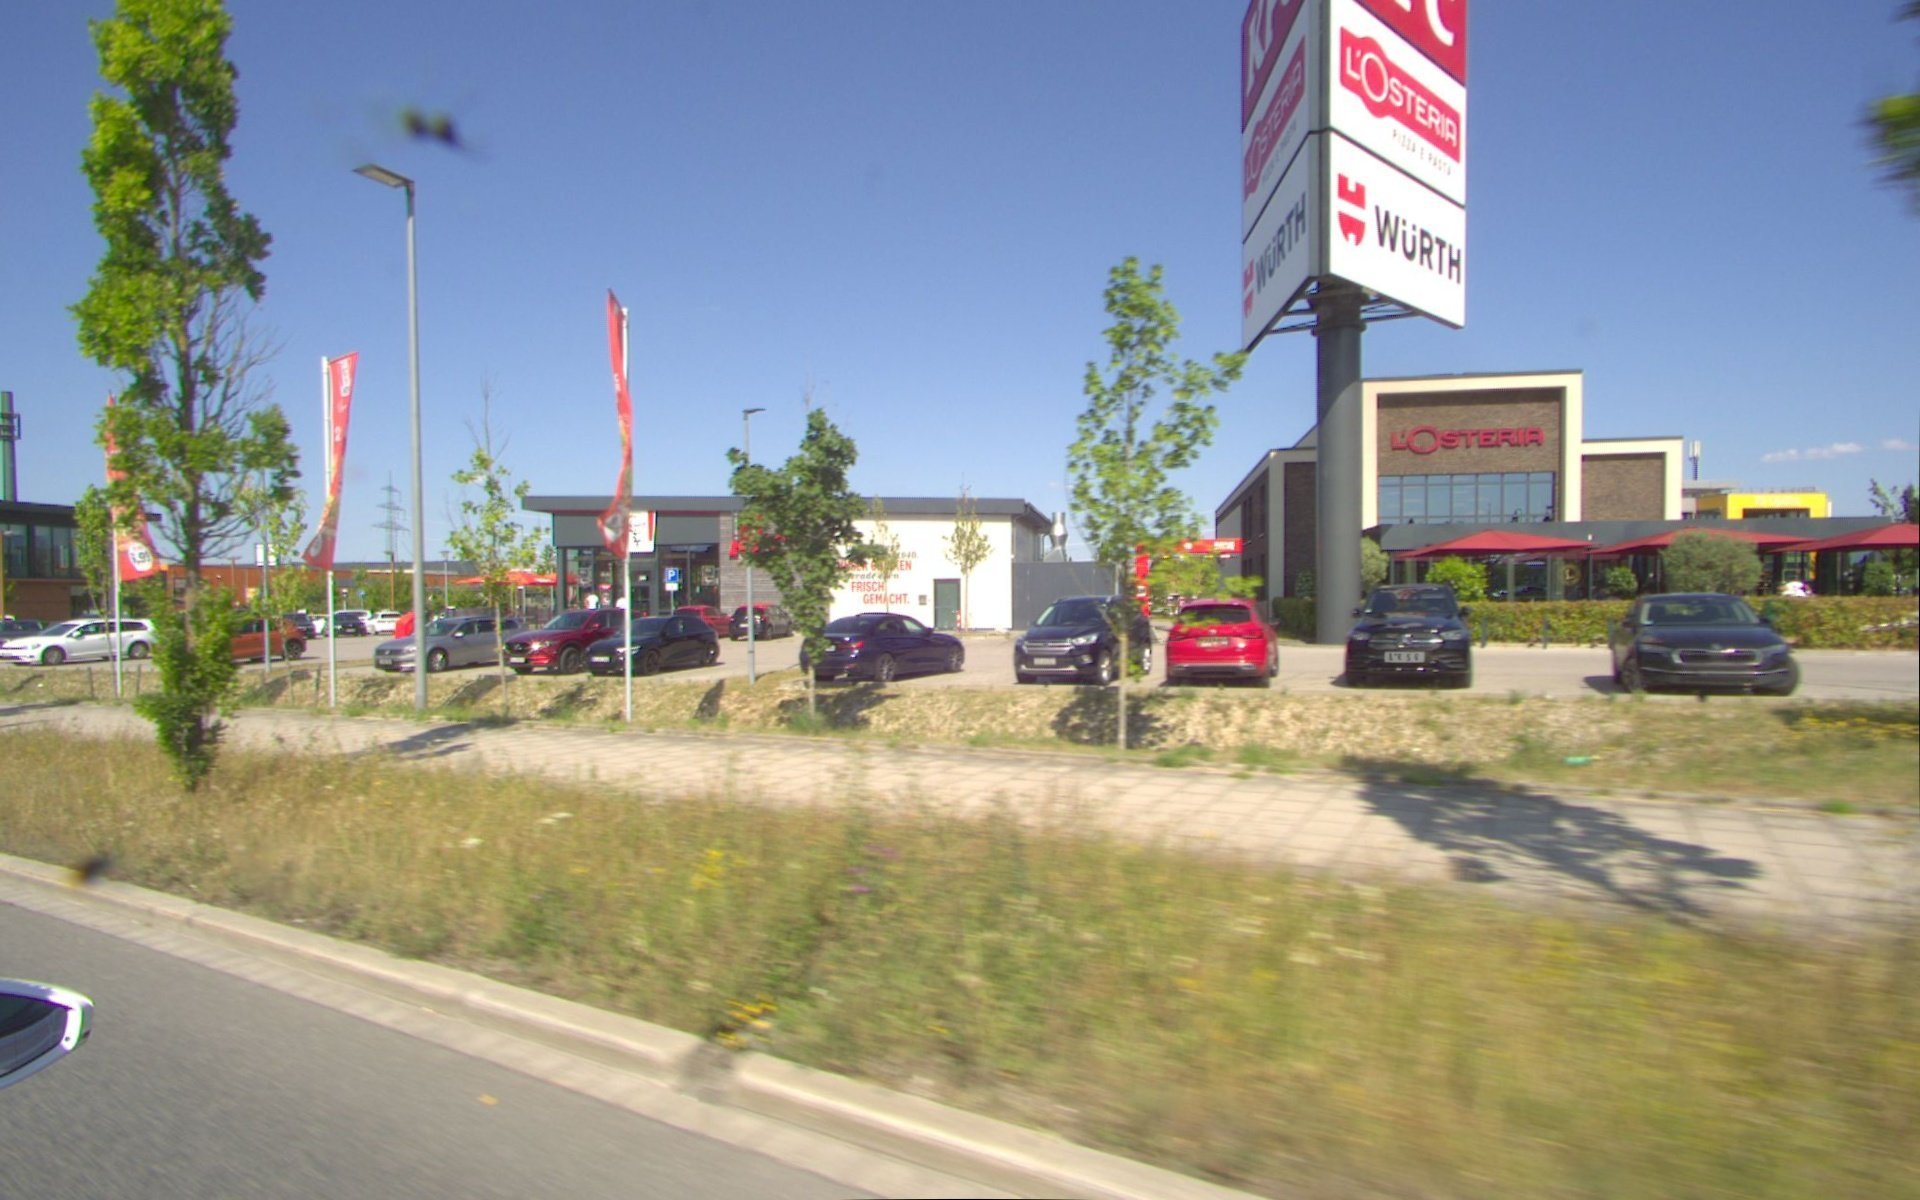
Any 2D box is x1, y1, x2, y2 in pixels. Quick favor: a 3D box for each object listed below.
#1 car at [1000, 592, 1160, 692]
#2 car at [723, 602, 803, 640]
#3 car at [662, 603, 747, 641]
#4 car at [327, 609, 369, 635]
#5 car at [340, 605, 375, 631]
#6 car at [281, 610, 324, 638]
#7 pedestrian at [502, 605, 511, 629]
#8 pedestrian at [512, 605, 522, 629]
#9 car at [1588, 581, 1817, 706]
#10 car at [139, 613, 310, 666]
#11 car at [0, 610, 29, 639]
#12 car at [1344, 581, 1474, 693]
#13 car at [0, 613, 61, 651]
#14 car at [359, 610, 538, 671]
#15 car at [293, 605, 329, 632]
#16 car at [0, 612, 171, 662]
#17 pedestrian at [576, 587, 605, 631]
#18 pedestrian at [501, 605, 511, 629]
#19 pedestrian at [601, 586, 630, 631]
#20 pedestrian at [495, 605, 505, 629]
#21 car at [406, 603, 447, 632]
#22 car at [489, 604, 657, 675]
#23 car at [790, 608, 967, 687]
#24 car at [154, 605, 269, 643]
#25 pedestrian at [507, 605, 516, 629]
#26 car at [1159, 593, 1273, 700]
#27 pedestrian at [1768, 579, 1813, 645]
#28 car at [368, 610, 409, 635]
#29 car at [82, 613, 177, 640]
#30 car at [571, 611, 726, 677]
[{"bbox_3d":[2.560,0.746,20.330,1.763,1.758,4.401,0,1,28],"label":"car"},{"bbox_3d":[-8.349,0.876,42.859,1.833,1.451,4.566,0,1,10],"label":"car"},{"bbox_3d":[-10.968,0.904,43.290,1.833,1.451,4.566,0,1,10],"label":"car"},{"bbox_3d":[-36.720,1.285,59.994,1.769,1.470,4.138,-1,0,-37],"label":"car"},{"bbox_3d":[-43.715,1.309,72.659,1.769,1.781,4.138,-1,0,-37],"label":"car"},{"bbox_3d":[-36.987,1.305,56.249,1.769,1.470,4.138,-1,0,-37],"label":"car"},{"bbox_3d":[-24.219,0.914,53.487,0.287,1.257,0.380,-1,1,9],"label":"pedestrian"},{"bbox_3d":[-23.622,0.907,53.399,0.287,1.257,0.380,-1,1,9],"label":"pedestrian"},{"bbox_3d":[10.940,0.525,15.133,1.963,1.587,4.403,0,1,26],"label":"car"},{"bbox_3d":[-23.789,1.222,32.594,1.835,1.510,4.210,0,1,17],"label":"car"},{"bbox_3d":[-58.485,1.499,61.313,1.777,1.724,3.968,-1,0,-38],"label":"car"},{"bbox_3d":[8.275,0.549,18.350,1.908,1.758,4.979,0,1,26],"label":"car"},{"bbox_3d":[-39.630,1.326,42.509,1.769,1.481,4.138,-1,0,-37],"label":"car"},{"bbox_3d":[-14.645,1.108,29.000,1.836,1.510,4.558,0,1,21],"label":"car"},{"bbox_3d":[-44.627,1.269,68.816,1.769,1.781,4.138,-1,0,-37],"label":"car"},{"bbox_3d":[-30.678,1.235,35.090,1.835,1.510,4.532,0,1,17],"label":"car"},{"bbox_3d":[-17.333,0.412,46.981,0.874,2.040,0.915,-1,1,14],"label":"pedestrian"},{"bbox_3d":[-23.888,0.901,52.644,0.287,1.257,0.380,-1,1,9],"label":"pedestrian"},{"bbox_3d":[-16.102,0.397,46.818,0.874,2.040,0.915,-1,1,14],"label":"pedestrian"},{"bbox_3d":[-24.198,0.904,52.688,0.287,1.257,0.380,-1,1,9],"label":"pedestrian"},{"bbox_3d":[-35.175,1.137,65.919,1.769,1.781,4.138,-1,0,-37],"label":"car"},{"bbox_3d":[-10.348,0.987,27.112,1.838,1.688,4.153,0,1,24],"label":"car"},{"bbox_3d":[-1.687,0.961,22.297,1.764,1.469,4.399,0,1,29],"label":"car"},{"bbox_3d":[-34.330,1.069,46.082,1.757,1.657,4.167,-1,0,9],"label":"car"},{"bbox_3d":[-23.931,0.911,53.441,0.287,1.257,0.380,-1,1,9],"label":"pedestrian"},{"bbox_3d":[4.987,0.764,19.092,1.759,1.758,4.411,0,1,19],"label":"car"},{"bbox_3d":[22.919,0.331,27.630,0.806,1.772,0.518,-1,1,14],"label":"pedestrian"},{"bbox_3d":[-36.144,1.382,63.250,1.769,1.470,4.138,-1,0,-37],"label":"car"},{"bbox_3d":[-47.283,1.492,57.109,3.947,1.391,1.787,-1,0,-34],"label":"car"},{"bbox_3d":[-8.045,1.079,26.269,1.759,1.469,4.158,0,1,19],"label":"car"}]
